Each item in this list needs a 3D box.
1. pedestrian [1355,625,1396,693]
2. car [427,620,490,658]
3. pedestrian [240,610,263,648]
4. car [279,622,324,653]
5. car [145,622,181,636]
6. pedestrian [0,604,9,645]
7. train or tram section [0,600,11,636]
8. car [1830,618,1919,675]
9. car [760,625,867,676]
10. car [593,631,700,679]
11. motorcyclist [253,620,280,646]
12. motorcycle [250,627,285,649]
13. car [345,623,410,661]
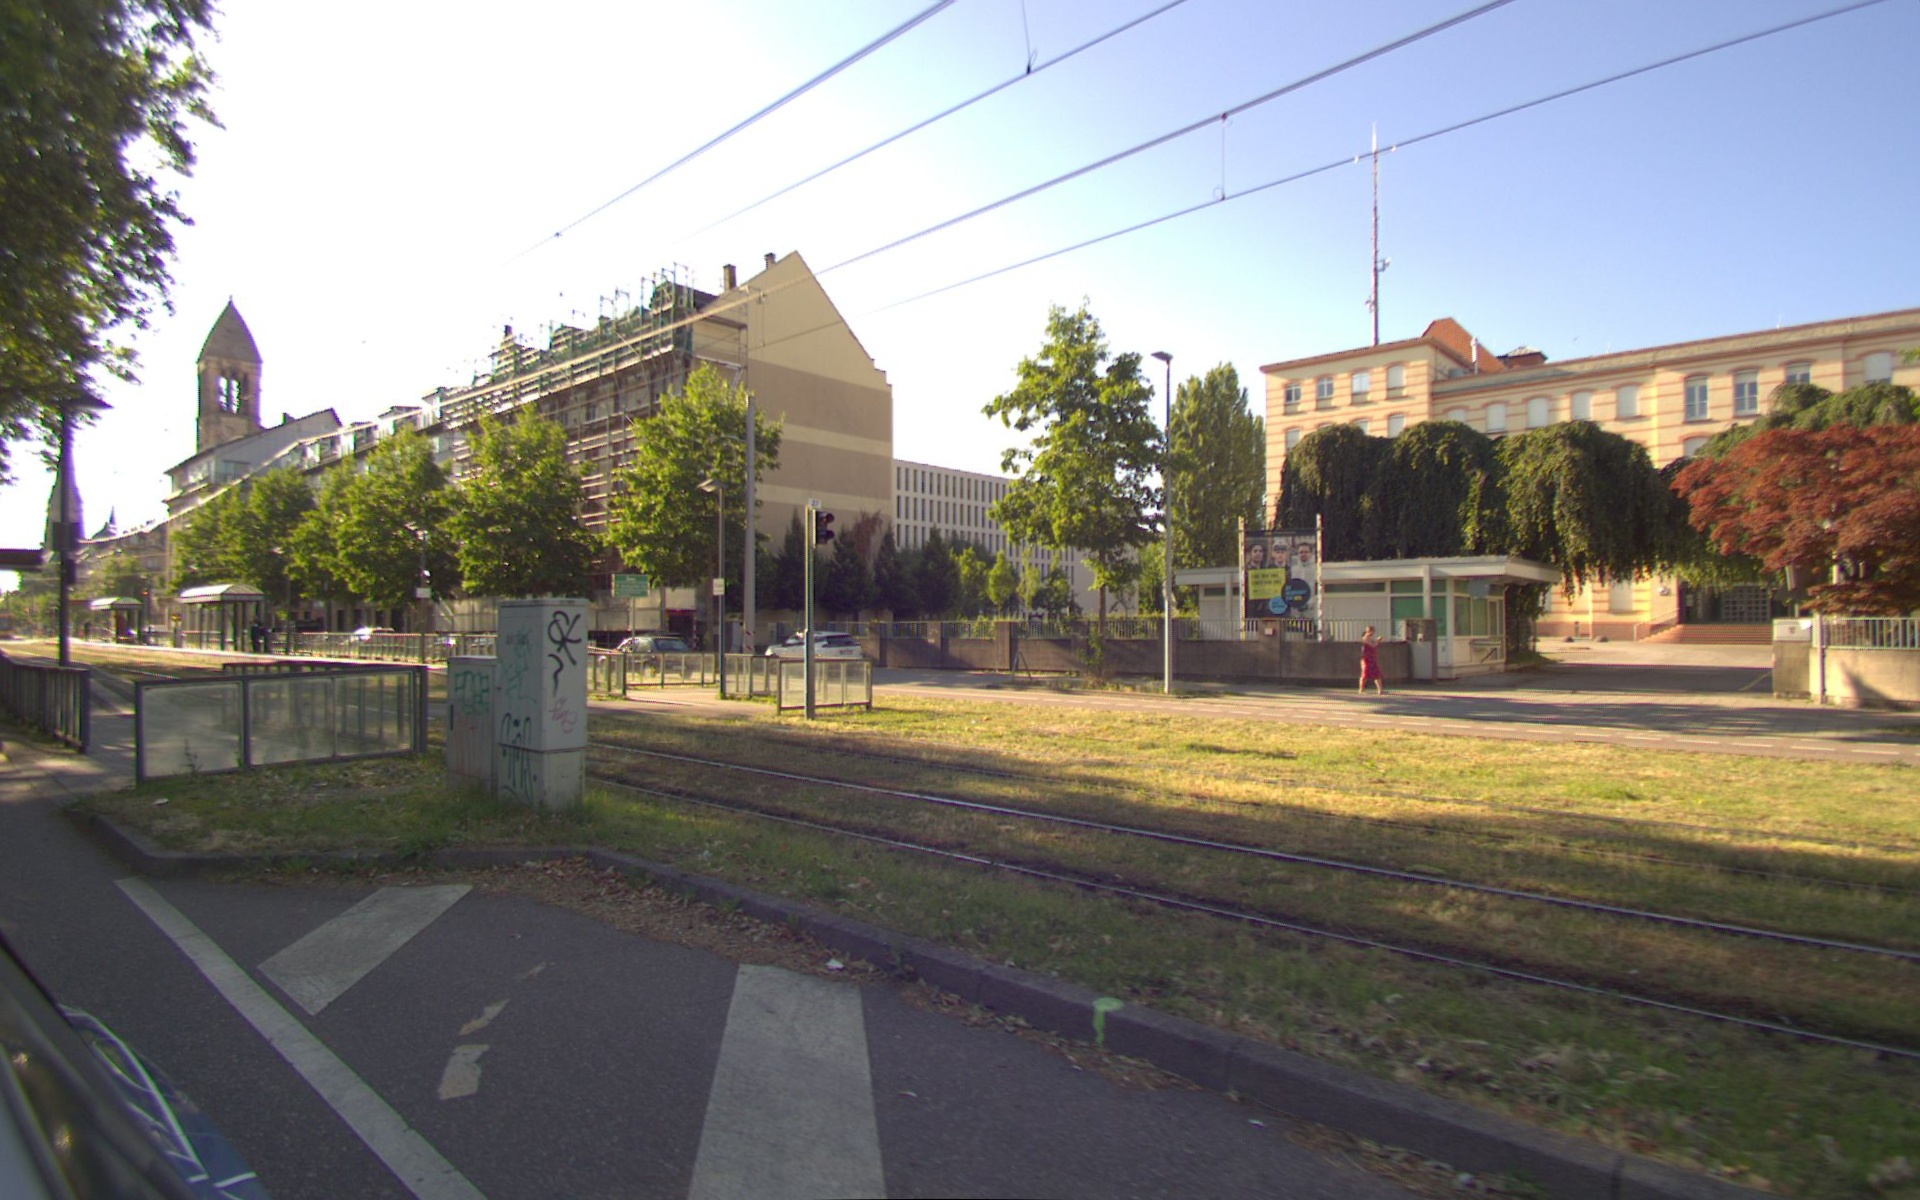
[{"bbox_3d":[10.377,1.453,25.283,0.811,1.660,0.717,-1,-3,36],"label":"pedestrian"},{"bbox_3d":[-28.333,2.179,57.152,4.001,2.029,1.971,-1,0,44],"label":"car"},{"bbox_3d":[-31.877,1.295,45.546,0.654,1.703,0.672,-1,0,40],"label":"pedestrian"},{"bbox_3d":[-50.088,2.826,76.963,3.784,2.183,1.920,-1,0,42],"label":"car"},{"bbox_3d":[-115.954,4.164,147.255,1.870,1.819,3.971,-1,0,43],"label":"car"},{"bbox_3d":[-40.753,1.048,42.541,0.624,1.735,0.908,-1,0,9],"label":"pedestrian"},{"bbox_3d":[-102.844,1.915,106.854,14.559,3.714,2.838,-1,-2,43],"label":"train or tram section"},{"bbox_3d":[25.287,1.200,26.417,3.851,1.418,1.589,-1,0,43],"label":"car"},{"bbox_3d":[-5.210,1.728,35.657,1.701,1.598,4.068,-1,0,-43],"label":"car"},{"bbox_3d":[-10.272,1.752,33.021,3.851,1.418,1.589,-1,0,43],"label":"car"},{"bbox_3d":[-36.533,1.740,53.272,1.274,1.309,0.810,-1,0,38],"label":"motorcyclist"},{"bbox_3d":[-36.352,1.975,53.141,2.398,1.081,0.810,-1,0,38],"label":"motorcycle"},{"bbox_3d":[-29.854,2.122,51.807,4.029,1.819,1.843,-1,0,44],"label":"car"}]
